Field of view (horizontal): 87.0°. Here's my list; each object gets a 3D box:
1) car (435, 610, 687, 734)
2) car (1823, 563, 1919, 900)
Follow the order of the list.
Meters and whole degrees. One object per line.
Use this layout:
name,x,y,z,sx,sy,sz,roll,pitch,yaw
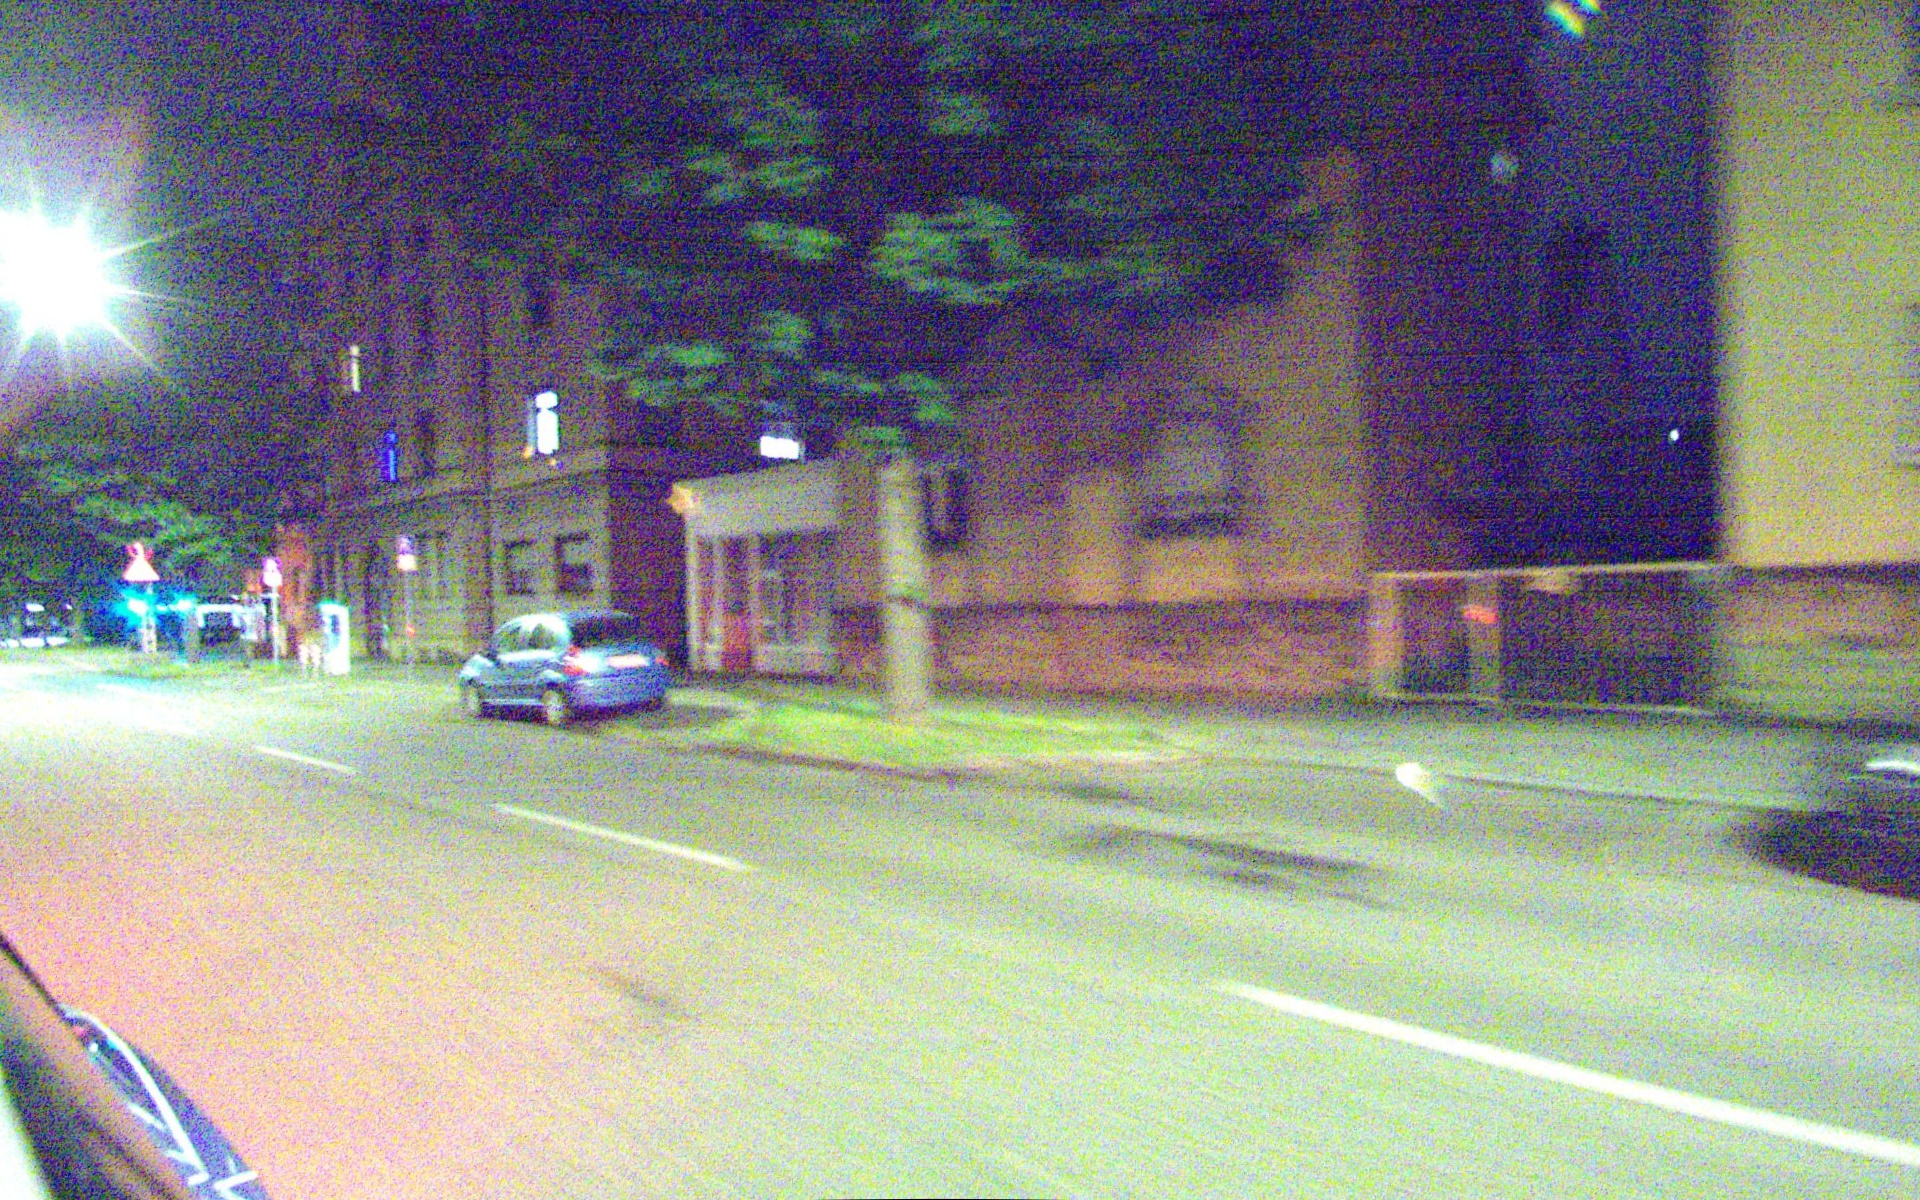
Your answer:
car,-5.839,0.973,14.609,3.987,1.505,1.696,-2,-1,41
car,6.453,0.528,3.822,4.763,1.497,1.750,-2,-2,39
